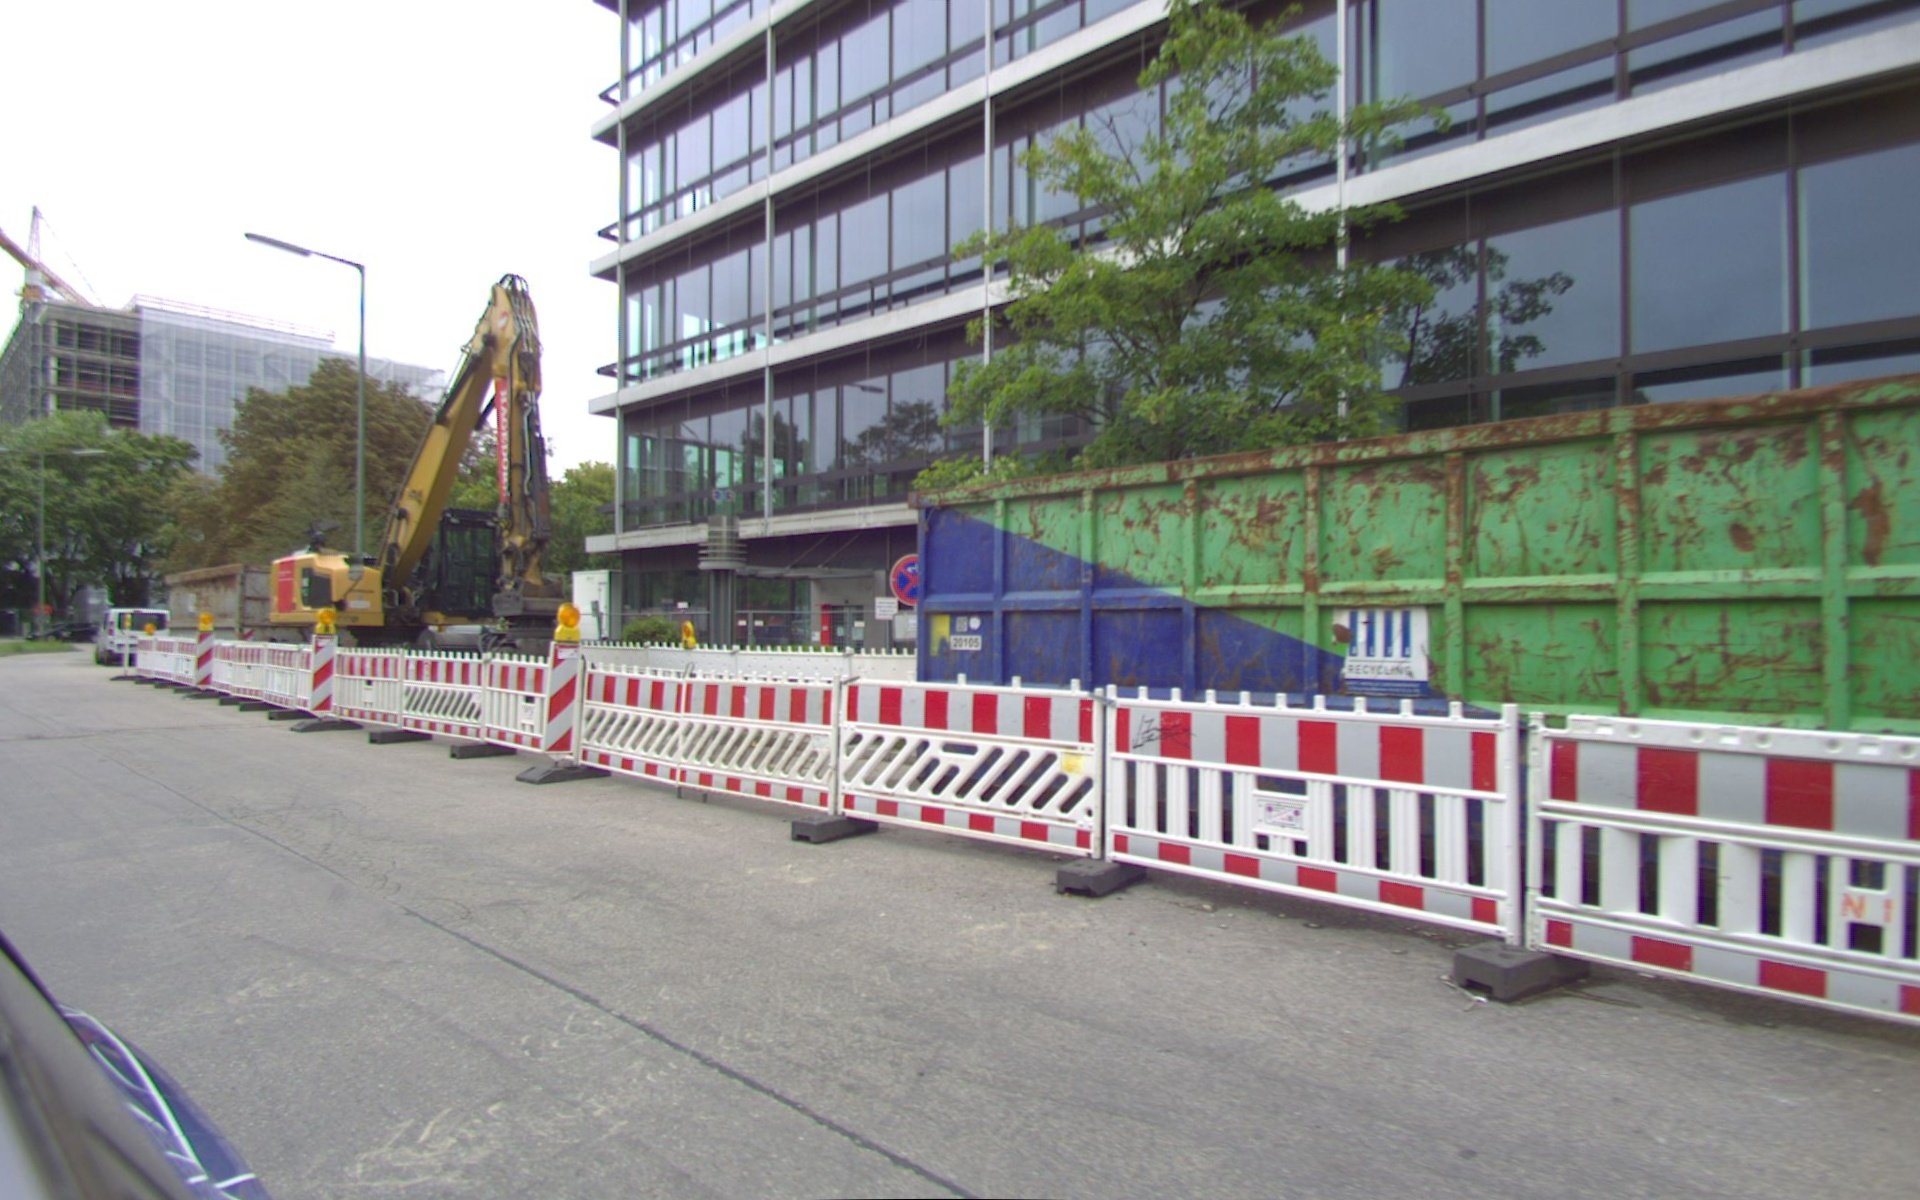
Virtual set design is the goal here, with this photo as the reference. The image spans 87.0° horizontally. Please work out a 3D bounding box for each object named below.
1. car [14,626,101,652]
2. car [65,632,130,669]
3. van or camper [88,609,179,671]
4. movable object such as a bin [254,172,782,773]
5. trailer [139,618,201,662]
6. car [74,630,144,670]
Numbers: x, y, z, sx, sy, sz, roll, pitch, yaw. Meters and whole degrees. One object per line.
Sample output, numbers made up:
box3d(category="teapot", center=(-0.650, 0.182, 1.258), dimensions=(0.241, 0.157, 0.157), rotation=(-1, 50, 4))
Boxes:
box3d(category="car", center=(-59.090, 2.546, 66.333), dimensions=(1.776, 1.584, 3.862), rotation=(1, -2, 19))
box3d(category="car", center=(-37.211, 2.153, 43.733), dimensions=(1.714, 1.470, 4.040), rotation=(4, -4, -35))
box3d(category="van or camper", center=(-29.867, 1.456, 36.494), dimensions=(1.966, 2.050, 5.590), rotation=(4, -5, -44))
box3d(category="movable object such as a bin", center=(-7.732, -1.321, 16.087), dimensions=(11.779, 6.614, 2.873), rotation=(-1, -2, 41))
box3d(category="trailer", center=(-41.456, 2.073, 53.156), dimensions=(1.752, 2.198, 2.785), rotation=(3, -3, -22))
box3d(category="car", center=(-34.021, 1.986, 40.442), dimensions=(1.969, 1.470, 4.125), rotation=(5, -4, -41))
